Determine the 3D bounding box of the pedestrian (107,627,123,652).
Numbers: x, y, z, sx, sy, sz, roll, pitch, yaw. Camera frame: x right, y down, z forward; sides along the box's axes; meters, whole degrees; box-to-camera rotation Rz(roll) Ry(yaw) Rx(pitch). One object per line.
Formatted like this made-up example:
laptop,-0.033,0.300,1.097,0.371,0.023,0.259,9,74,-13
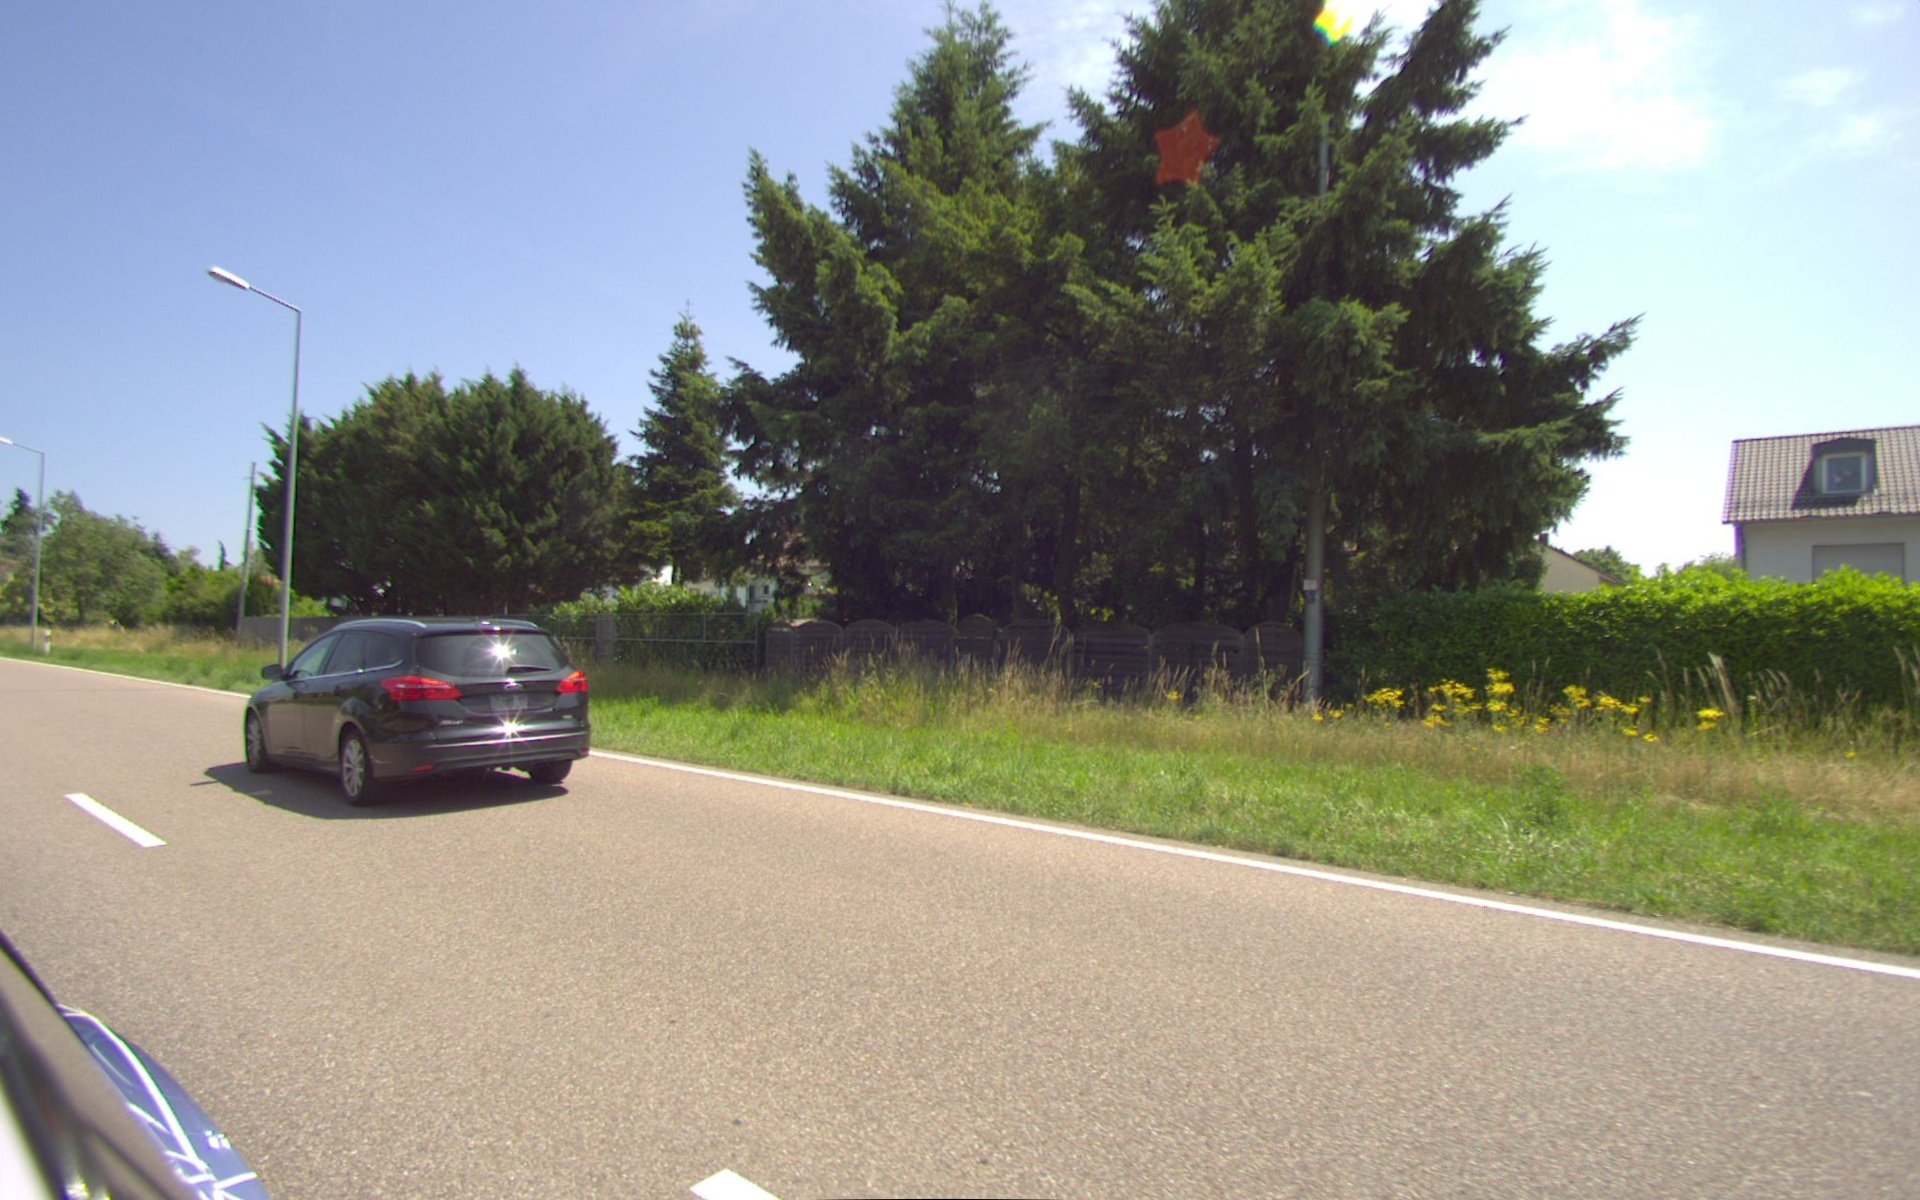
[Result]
pedestrian,-50.562,2.347,60.578,0.633,1.489,0.603,-1,-2,39

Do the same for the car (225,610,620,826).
car,-5.028,0.877,9.167,4.438,1.503,1.682,-1,-2,41
